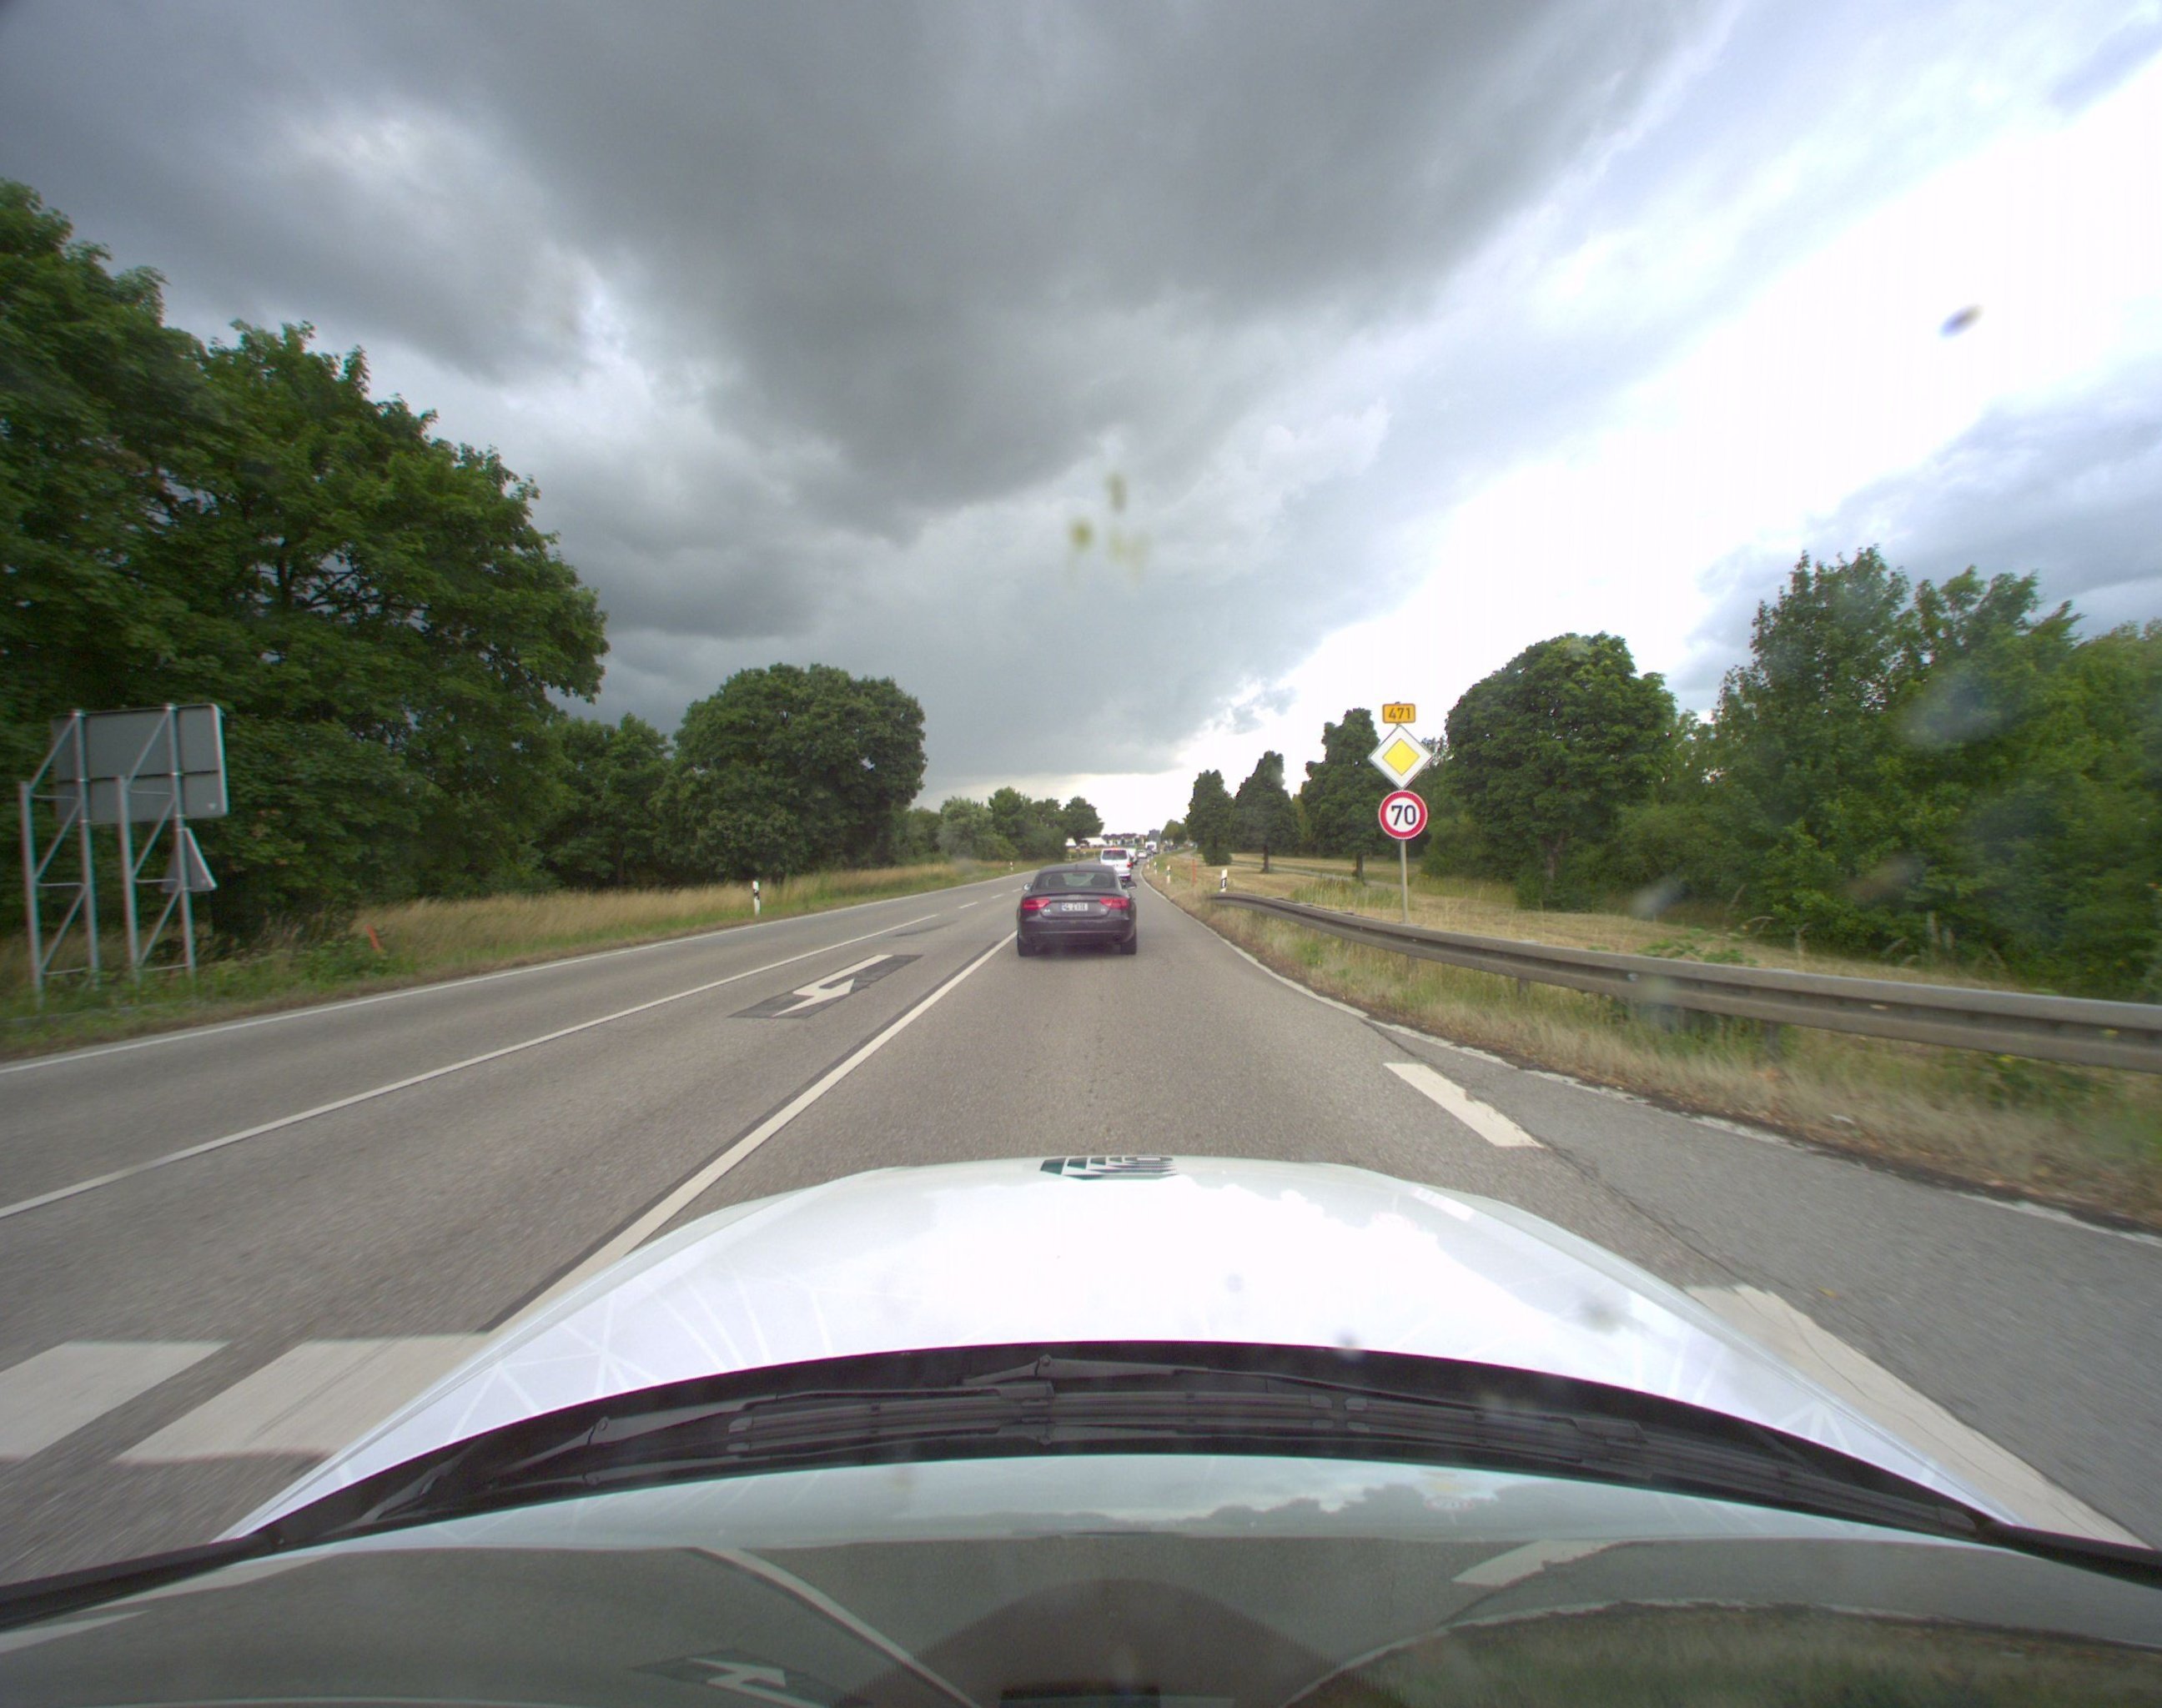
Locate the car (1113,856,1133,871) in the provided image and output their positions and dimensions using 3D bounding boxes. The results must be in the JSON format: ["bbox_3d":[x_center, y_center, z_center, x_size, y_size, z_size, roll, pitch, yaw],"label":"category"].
[{"bbox_3d":[4.081,0.908,79.469,1.787,1.464,3.253,-1,0,5],"label":"car"}]

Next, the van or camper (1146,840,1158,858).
[{"bbox_3d":[14.825,-1.009,169.272,2.329,3.481,5.726,-1,0,5],"label":"van or camper"}]

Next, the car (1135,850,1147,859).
[{"bbox_3d":[9.856,0.092,132.902,1.726,1.514,3.754,-1,0,7],"label":"car"}]

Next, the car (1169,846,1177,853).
[{"bbox_3d":[26.682,-1.341,236.991,1.986,2.013,4.001,-1,0,1],"label":"car"}]

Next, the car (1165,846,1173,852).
[{"bbox_3d":[23.017,-1.377,213.670,1.712,1.451,4.003,0,0,3],"label":"car"}]

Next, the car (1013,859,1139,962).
[{"bbox_3d":[-0.016,0.814,13.534,1.776,1.376,4.001,0,0,1],"label":"car"}]

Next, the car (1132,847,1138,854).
[{"bbox_3d":[14.405,-0.847,216.209,1.589,1.802,3.202,0,0,2],"label":"car"}]

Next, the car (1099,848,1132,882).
[{"bbox_3d":[1.971,0.578,47.597,1.832,1.882,4.001,0,0,1],"label":"car"}]

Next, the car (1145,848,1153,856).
[{"bbox_3d":[12.463,-0.409,150.135,1.251,1.353,3.473,-1,0,8],"label":"car"}]

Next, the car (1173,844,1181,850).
[{"bbox_3d":[25.304,-1.798,215.307,1.814,1.596,4.003,0,0,3],"label":"car"}]

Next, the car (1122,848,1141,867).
[{"bbox_3d":[5.903,0.366,94.793,1.984,2.088,4.005,-1,0,4],"label":"car"}]
